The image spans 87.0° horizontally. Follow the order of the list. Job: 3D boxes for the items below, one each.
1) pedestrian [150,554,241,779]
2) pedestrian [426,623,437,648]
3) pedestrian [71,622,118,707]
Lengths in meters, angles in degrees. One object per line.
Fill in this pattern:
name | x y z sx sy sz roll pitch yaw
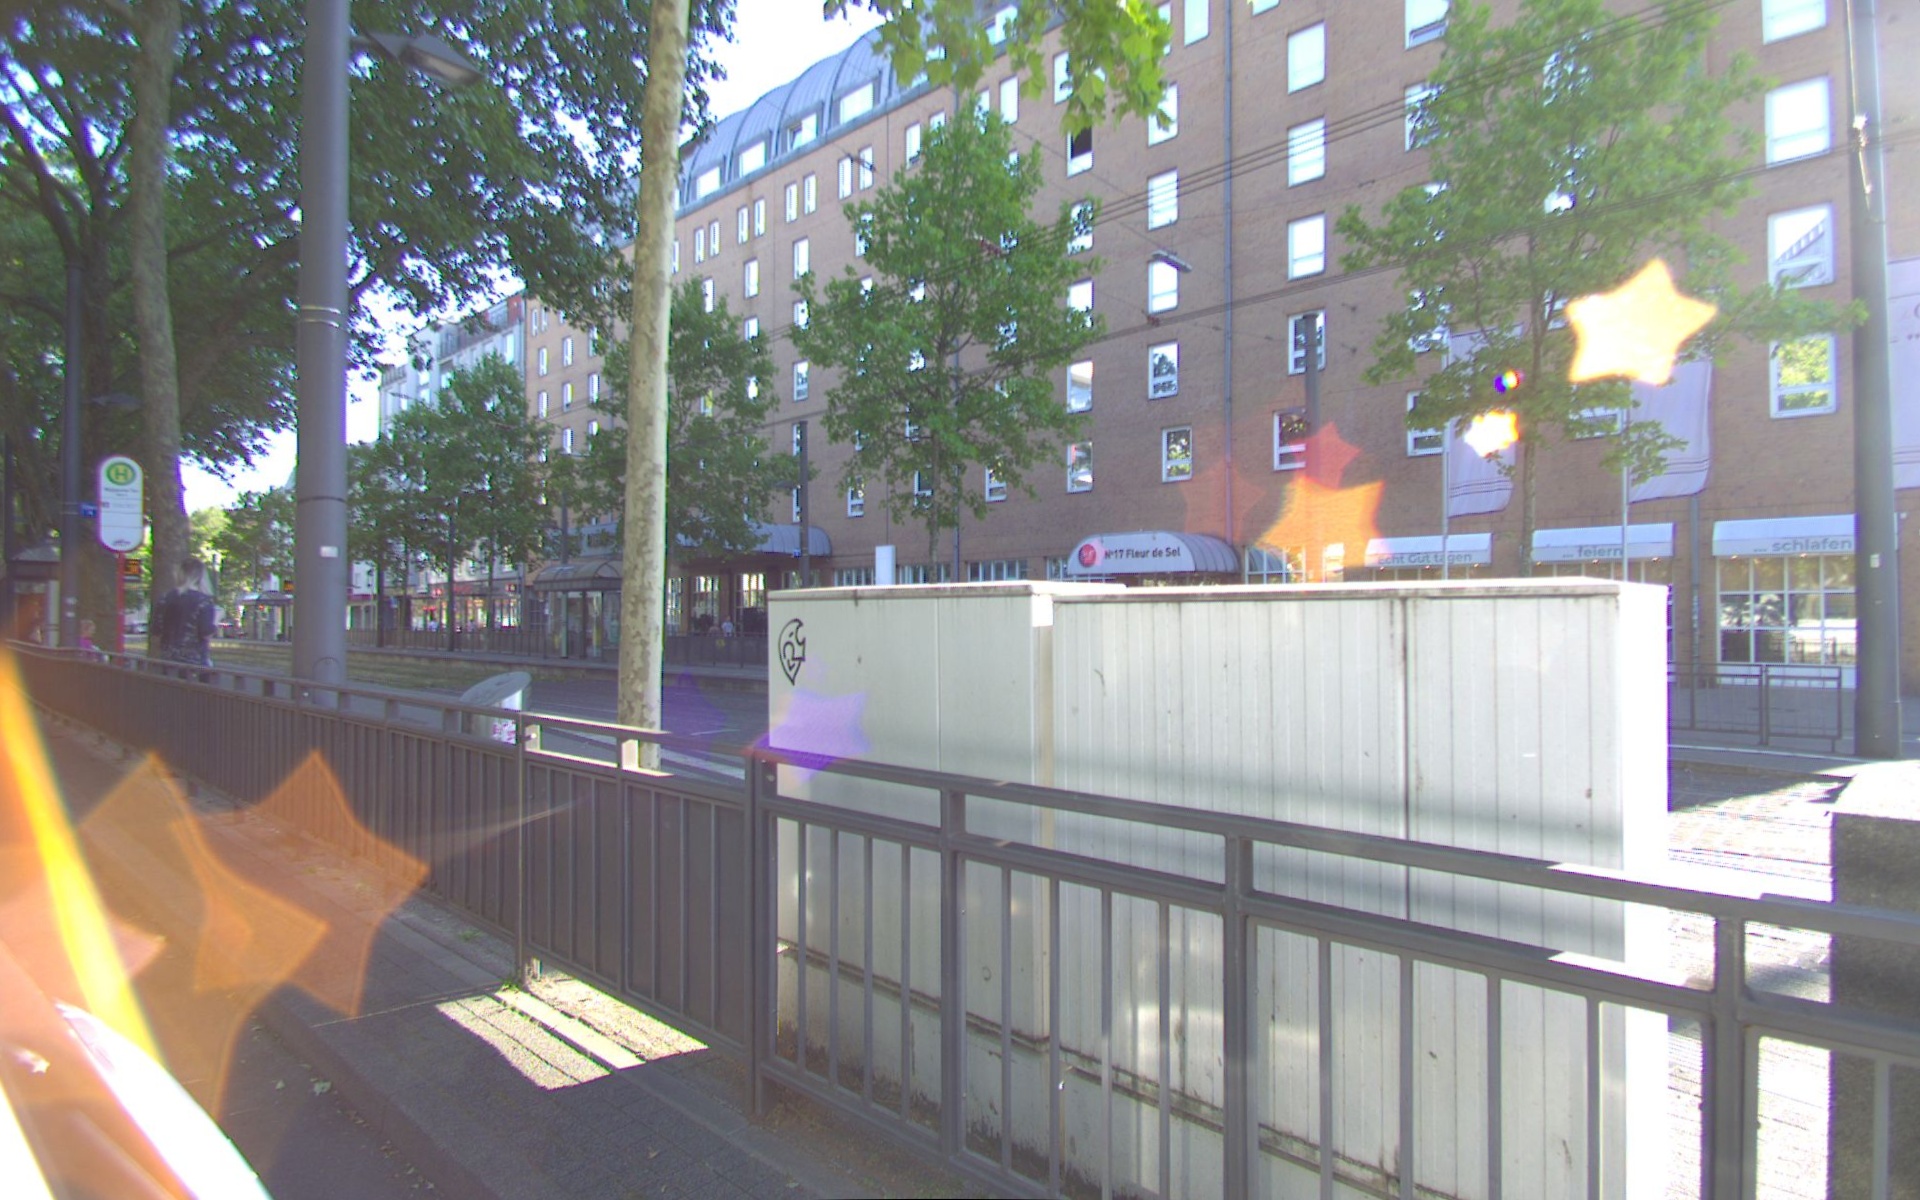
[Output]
pedestrian | -6.571 0.544 8.700 0.524 1.848 0.535 -1 0 44
pedestrian | -36.866 2.490 70.655 0.574 1.748 0.497 -2 -2 43
pedestrian | -14.062 1.028 16.445 0.534 1.327 0.525 -1 0 -37
